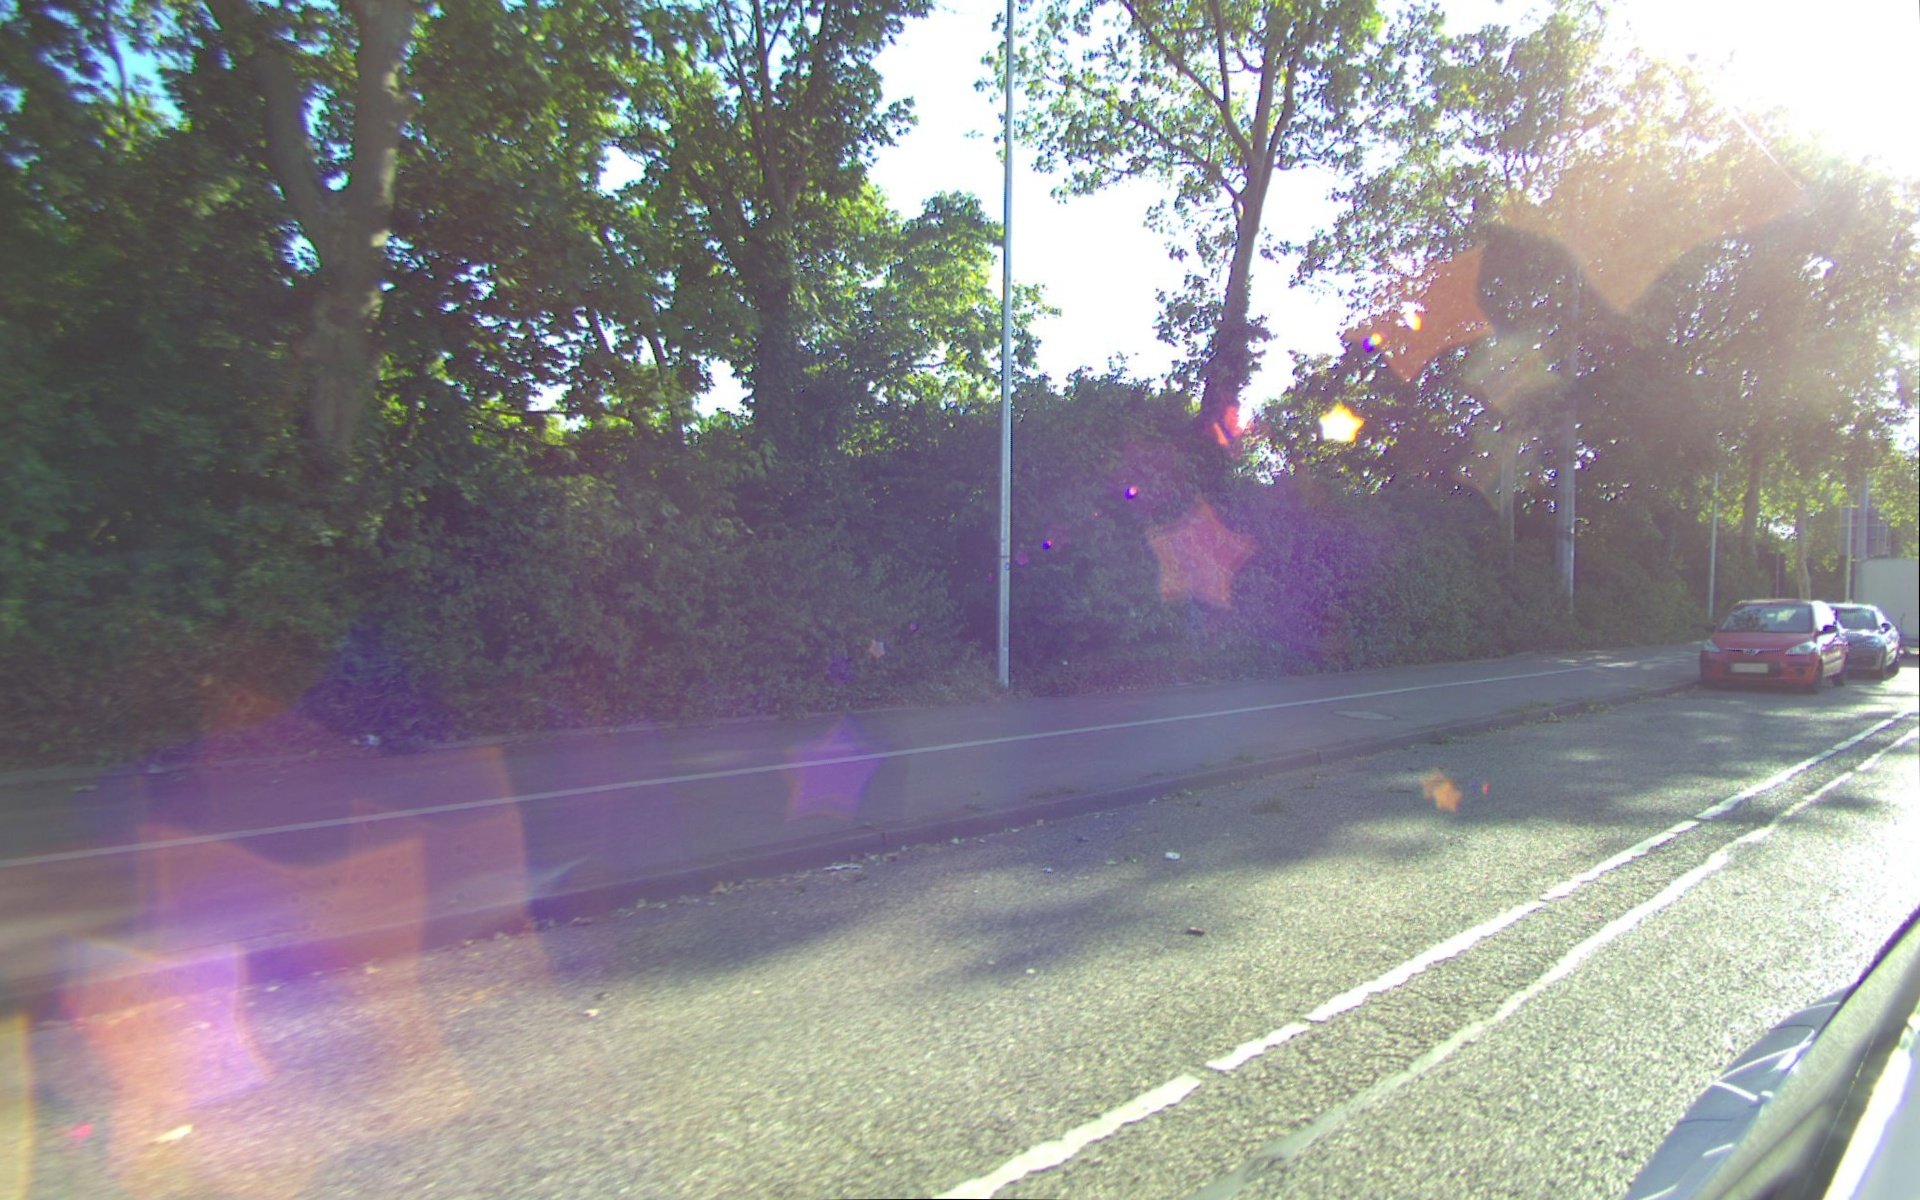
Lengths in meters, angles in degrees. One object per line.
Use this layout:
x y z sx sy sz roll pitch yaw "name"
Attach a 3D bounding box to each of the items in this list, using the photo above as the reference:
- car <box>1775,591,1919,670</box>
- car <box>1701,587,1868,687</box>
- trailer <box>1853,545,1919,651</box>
18.370 0.551 20.865 4.094 1.475 1.811 0 0 -42 "car"
14.462 0.563 17.693 3.576 1.556 1.643 0 1 -40 "car"
26.954 -0.070 28.027 5.837 2.728 2.257 0 1 -38 "trailer"
